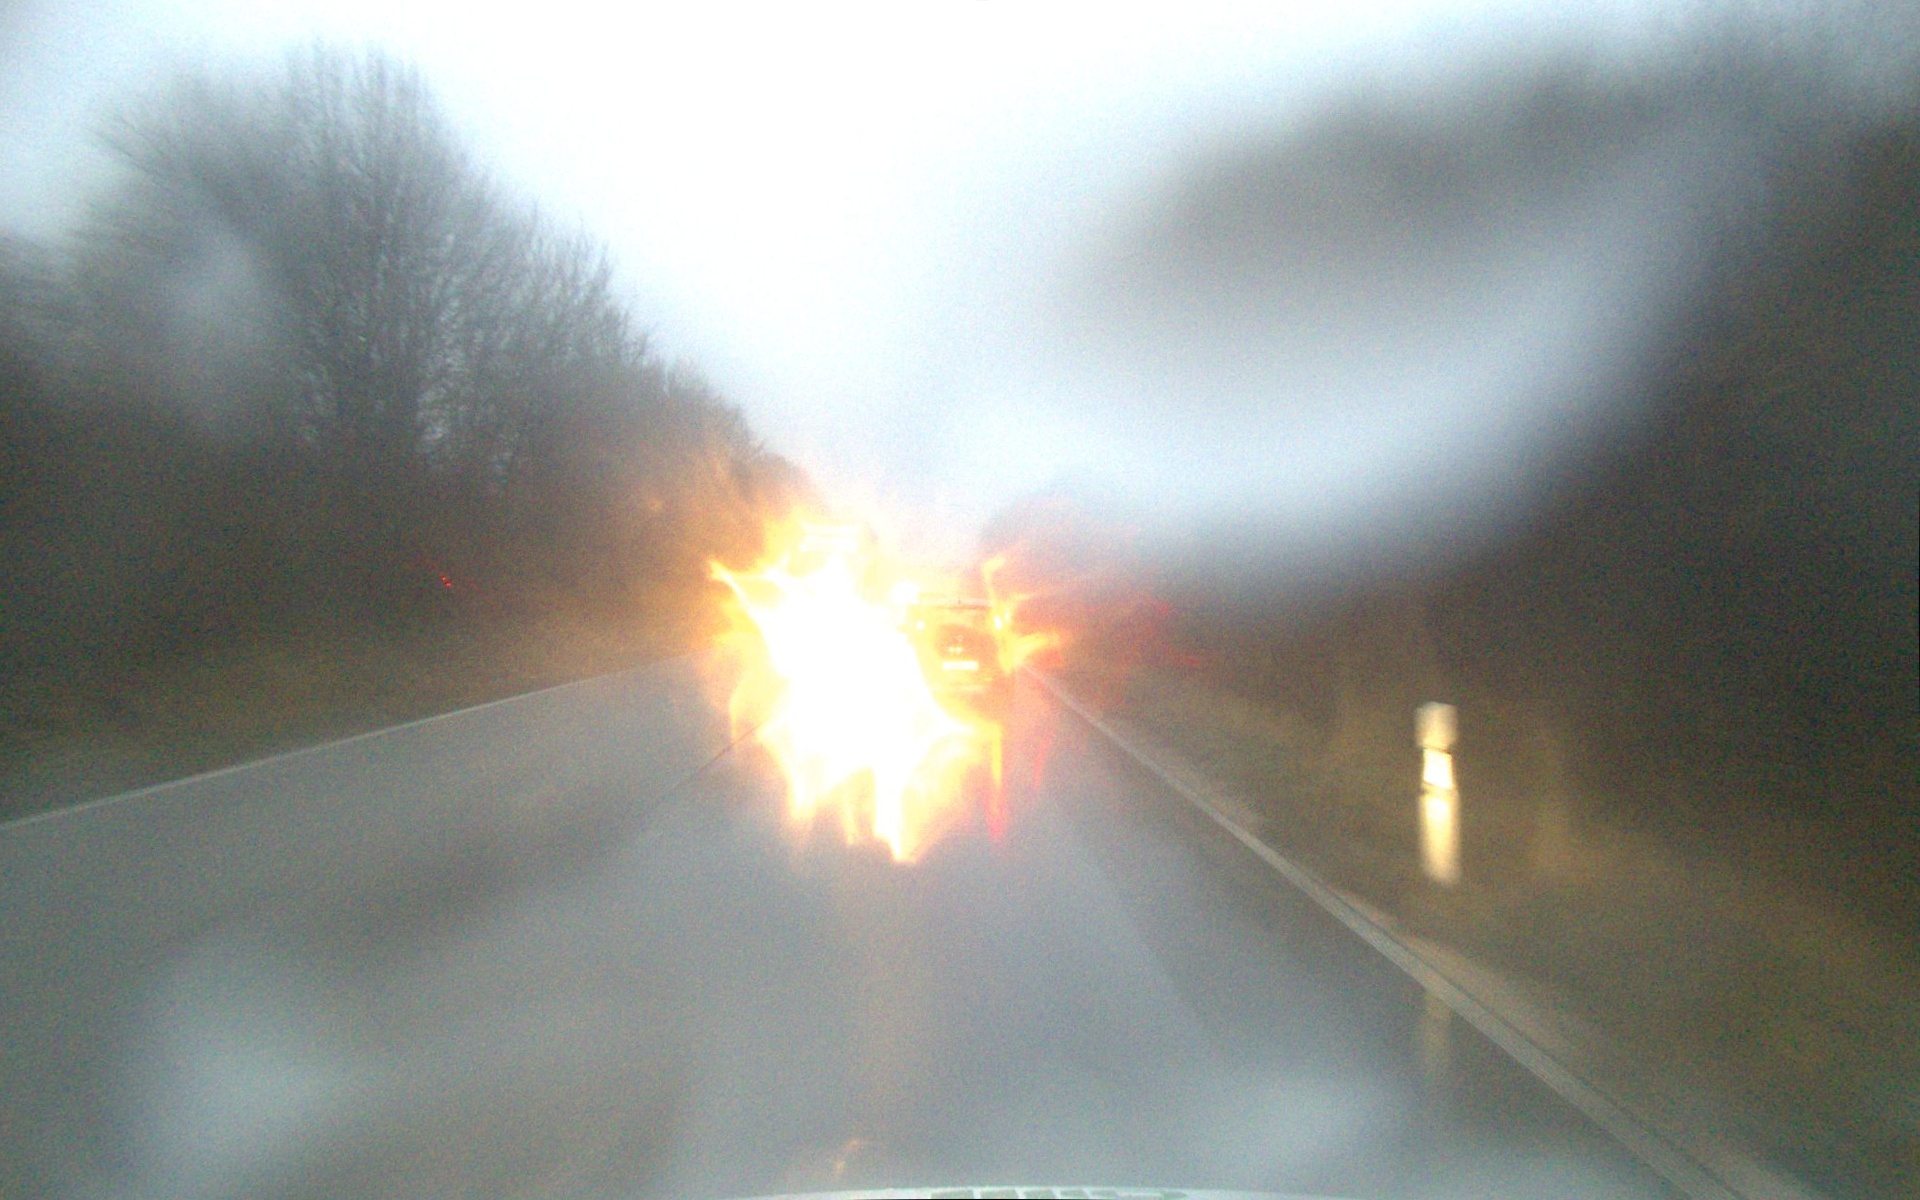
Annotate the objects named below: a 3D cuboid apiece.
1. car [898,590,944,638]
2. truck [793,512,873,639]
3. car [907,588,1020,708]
[{"bbox_3d":[-1.530,0.535,64.786,1.698,1.810,3.999,1,0,-1],"label":"car"},{"bbox_3d":[-4.653,-0.877,61.611,2.588,4.493,5.552,1,0,-1],"label":"truck"},{"bbox_3d":[0.043,0.694,25.534,1.614,1.701,3.513,1,0,0],"label":"car"}]
